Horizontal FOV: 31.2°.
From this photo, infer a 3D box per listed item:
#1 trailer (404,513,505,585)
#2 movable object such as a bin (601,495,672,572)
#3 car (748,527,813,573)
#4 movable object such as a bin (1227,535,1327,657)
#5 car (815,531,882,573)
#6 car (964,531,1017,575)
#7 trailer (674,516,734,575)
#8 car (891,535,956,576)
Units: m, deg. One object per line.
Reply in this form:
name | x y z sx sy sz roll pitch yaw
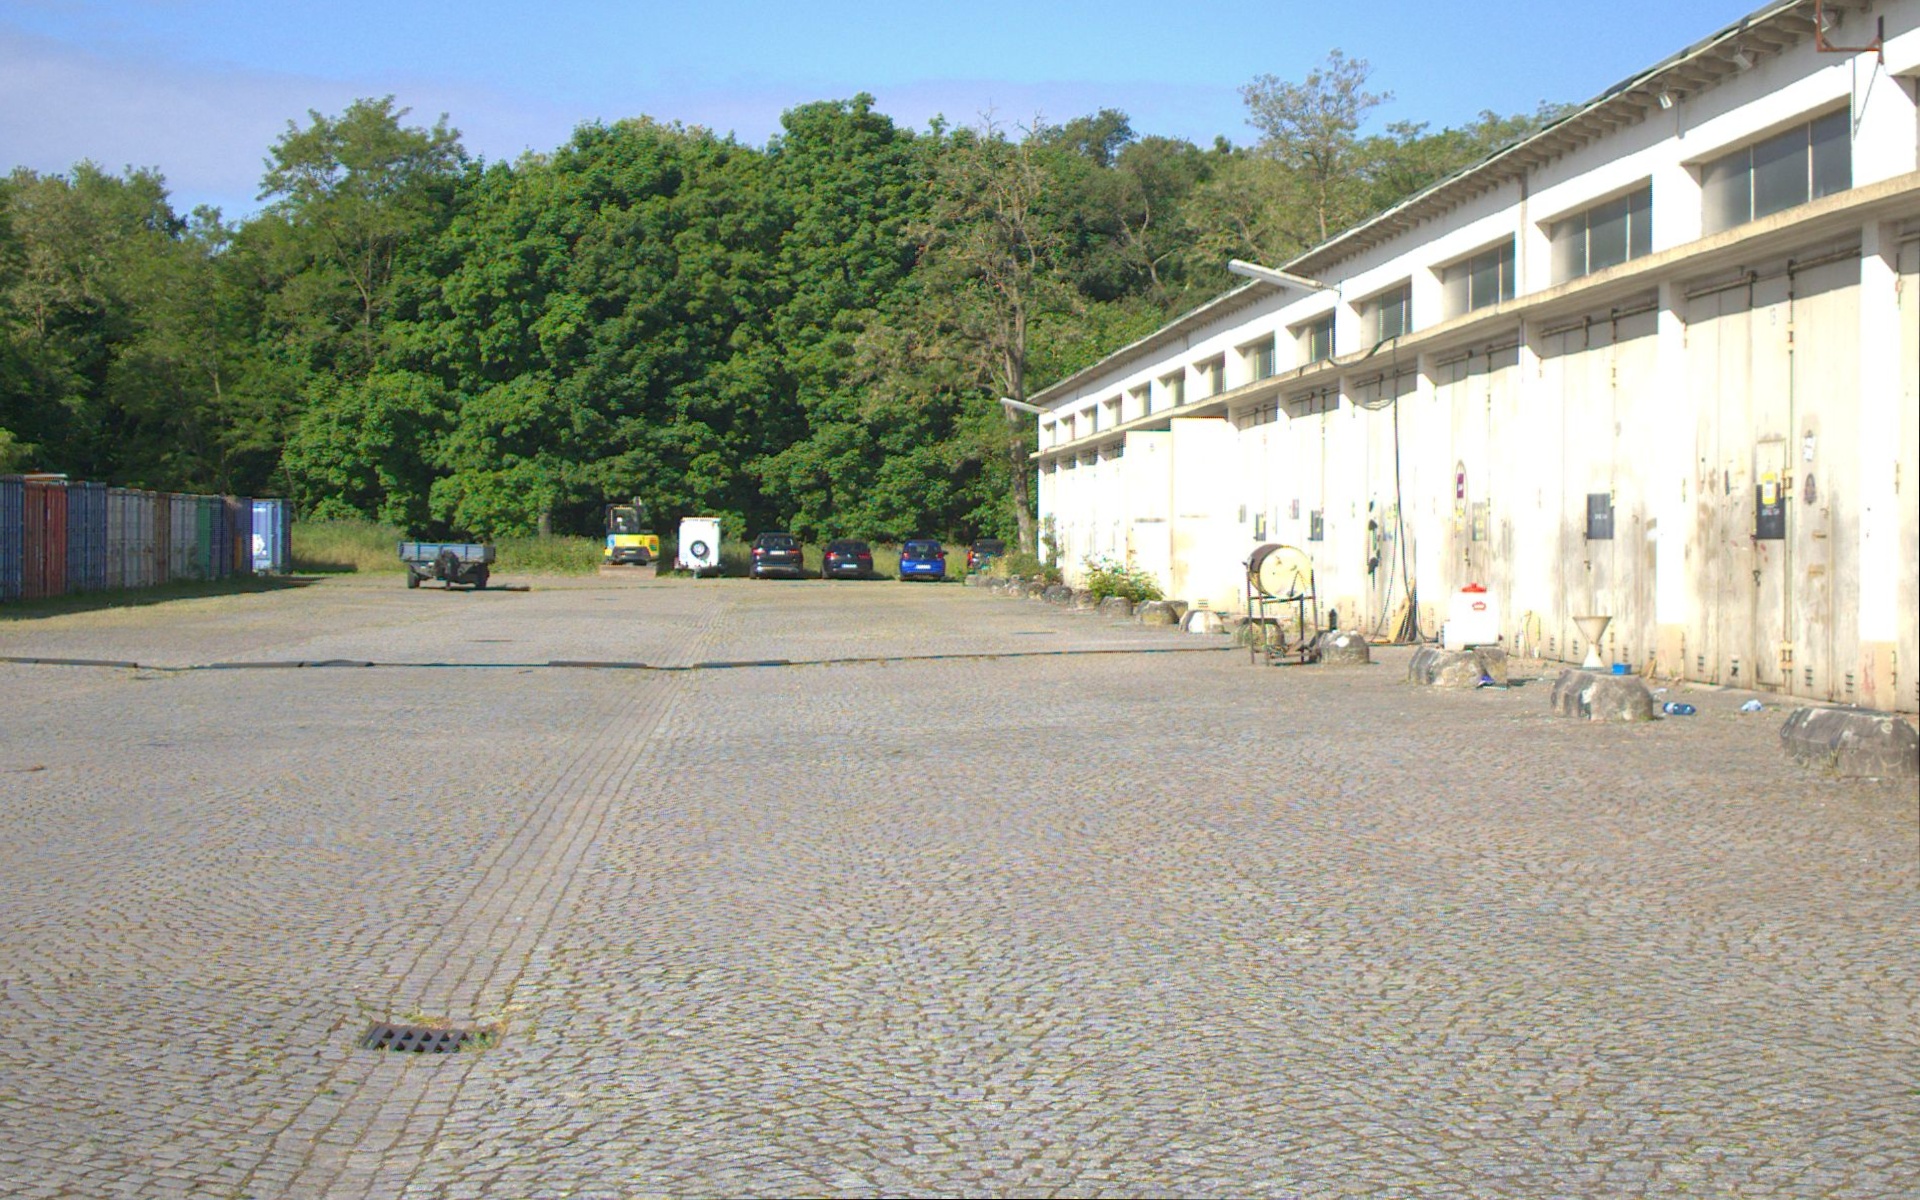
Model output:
trailer | -15.143 -1.536 103.225 2.407 2.007 4.173 2 1 -1
movable object such as a bin | -11.532 -2.371 122.842 1.993 2.609 4.000 2 1 1
car | -6.306 -1.764 121.145 1.861 1.580 4.000 0 1 4
movable object such as a bin | 3.505 -0.052 38.134 0.823 1.327 1.281 0 1 -8
car | -3.912 -1.709 121.464 1.994 1.457 4.000 0 1 4
car | 1.102 -1.687 123.081 1.685 1.558 4.000 0 1 4
trailer | -9.125 -1.951 122.696 1.794 2.083 3.971 0 1 1
car | -1.284 -1.566 121.602 1.994 1.415 4.000 0 1 4
